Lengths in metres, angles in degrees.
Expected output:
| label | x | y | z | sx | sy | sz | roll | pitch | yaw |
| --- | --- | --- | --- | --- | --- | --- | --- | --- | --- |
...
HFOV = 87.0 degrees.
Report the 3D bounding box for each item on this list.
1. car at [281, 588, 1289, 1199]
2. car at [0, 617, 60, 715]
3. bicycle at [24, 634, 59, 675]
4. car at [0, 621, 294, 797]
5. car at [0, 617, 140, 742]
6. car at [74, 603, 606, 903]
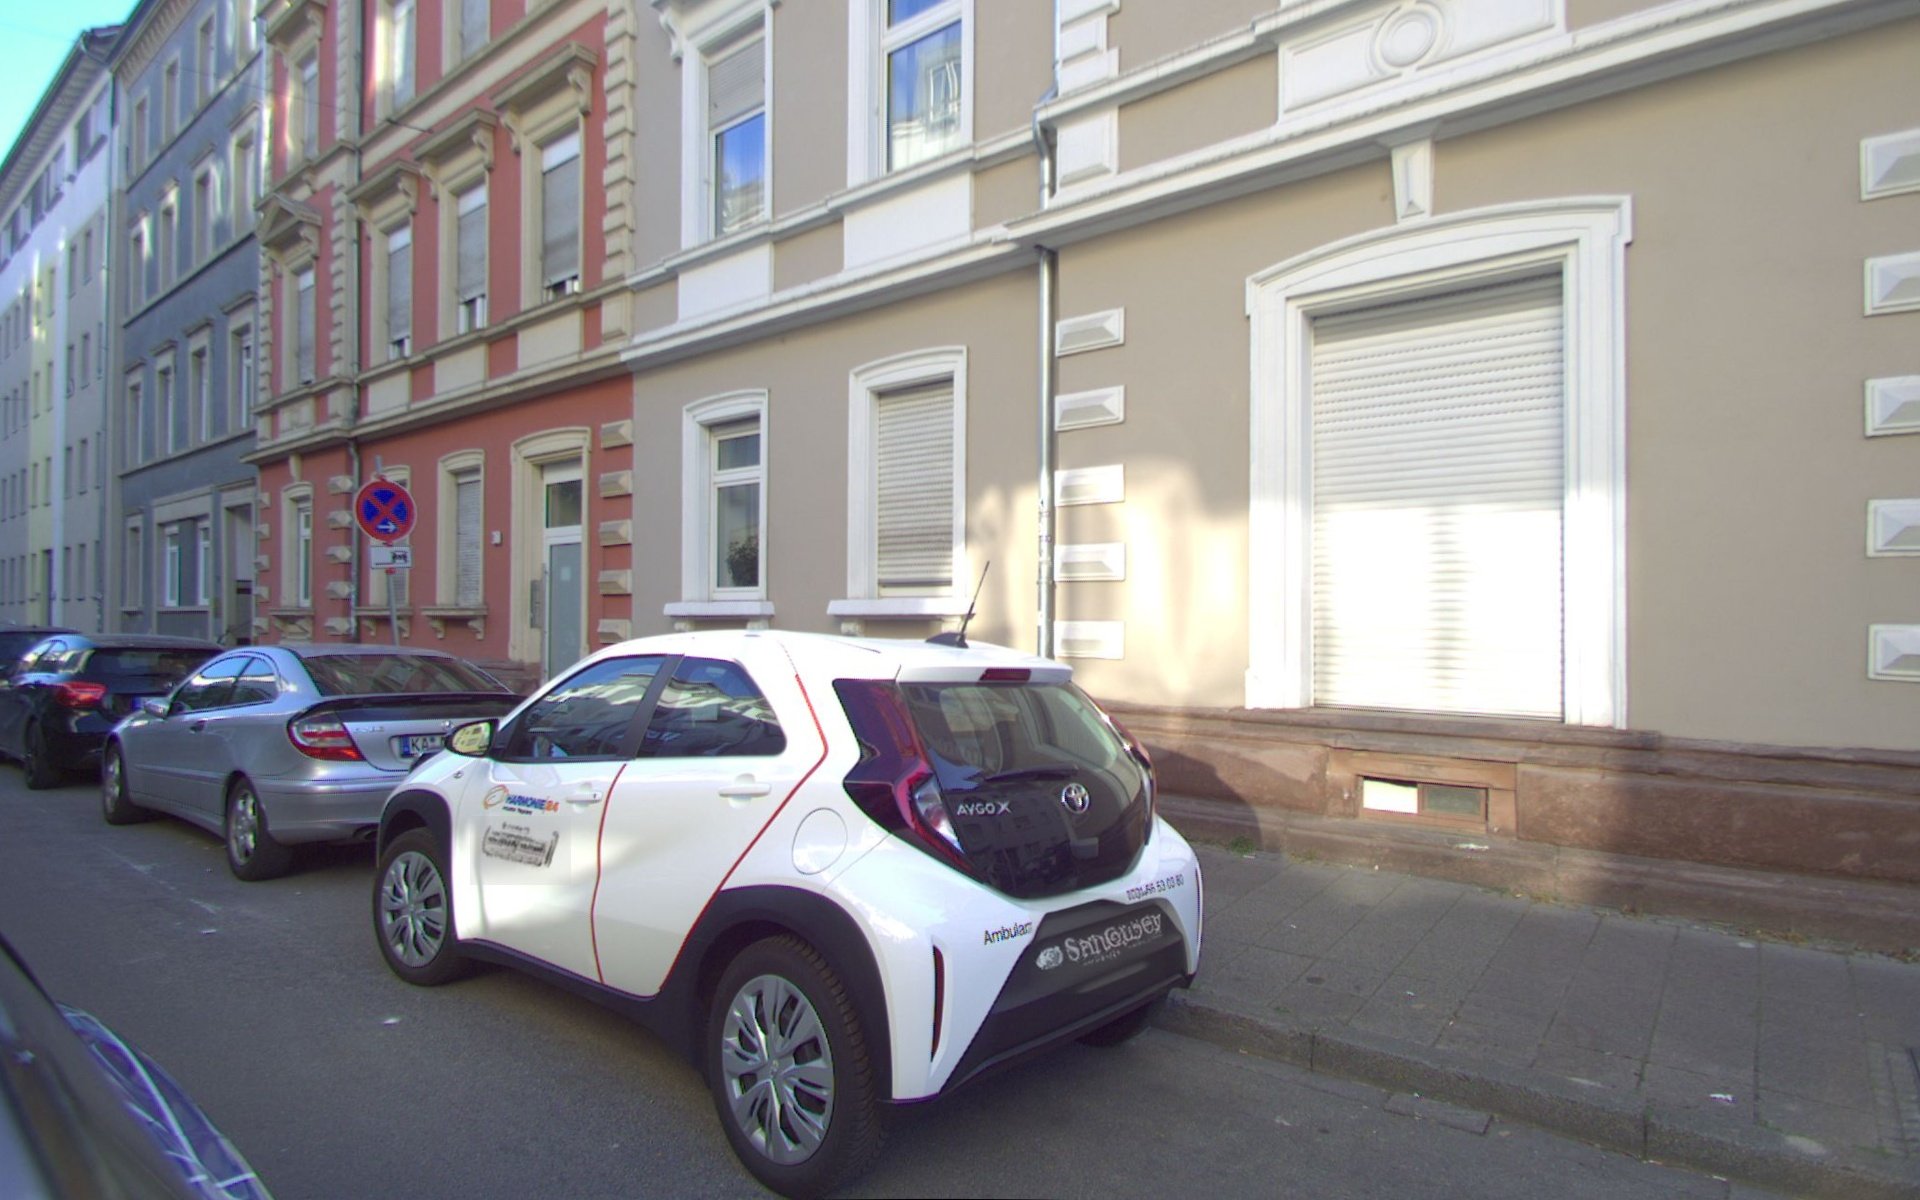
| label | x | y | z | sx | sy | sz | roll | pitch | yaw |
| --- | --- | --- | --- | --- | --- | --- | --- | --- | --- |
| car | -1.046 | 0.833 | 4.293 | 4.263 | 1.519 | 1.901 | -2 | -4 | 40 |
| car | -17.352 | 1.099 | 17.482 | 4.261 | 1.572 | 1.902 | -2 | -4 | 38 |
| bicycle | -25.168 | 1.474 | 27.715 | 1.750 | 1.082 | 0.446 | -1 | -1 | 39 |
| car | -8.968 | 1.021 | 10.699 | 4.261 | 1.495 | 1.902 | -2 | -4 | 38 |
| car | -13.580 | 1.077 | 14.490 | 4.234 | 1.572 | 1.883 | -2 | -4 | 38 |
| car | -4.681 | 0.901 | 7.425 | 4.261 | 1.572 | 1.902 | -2 | -4 | 38 |
